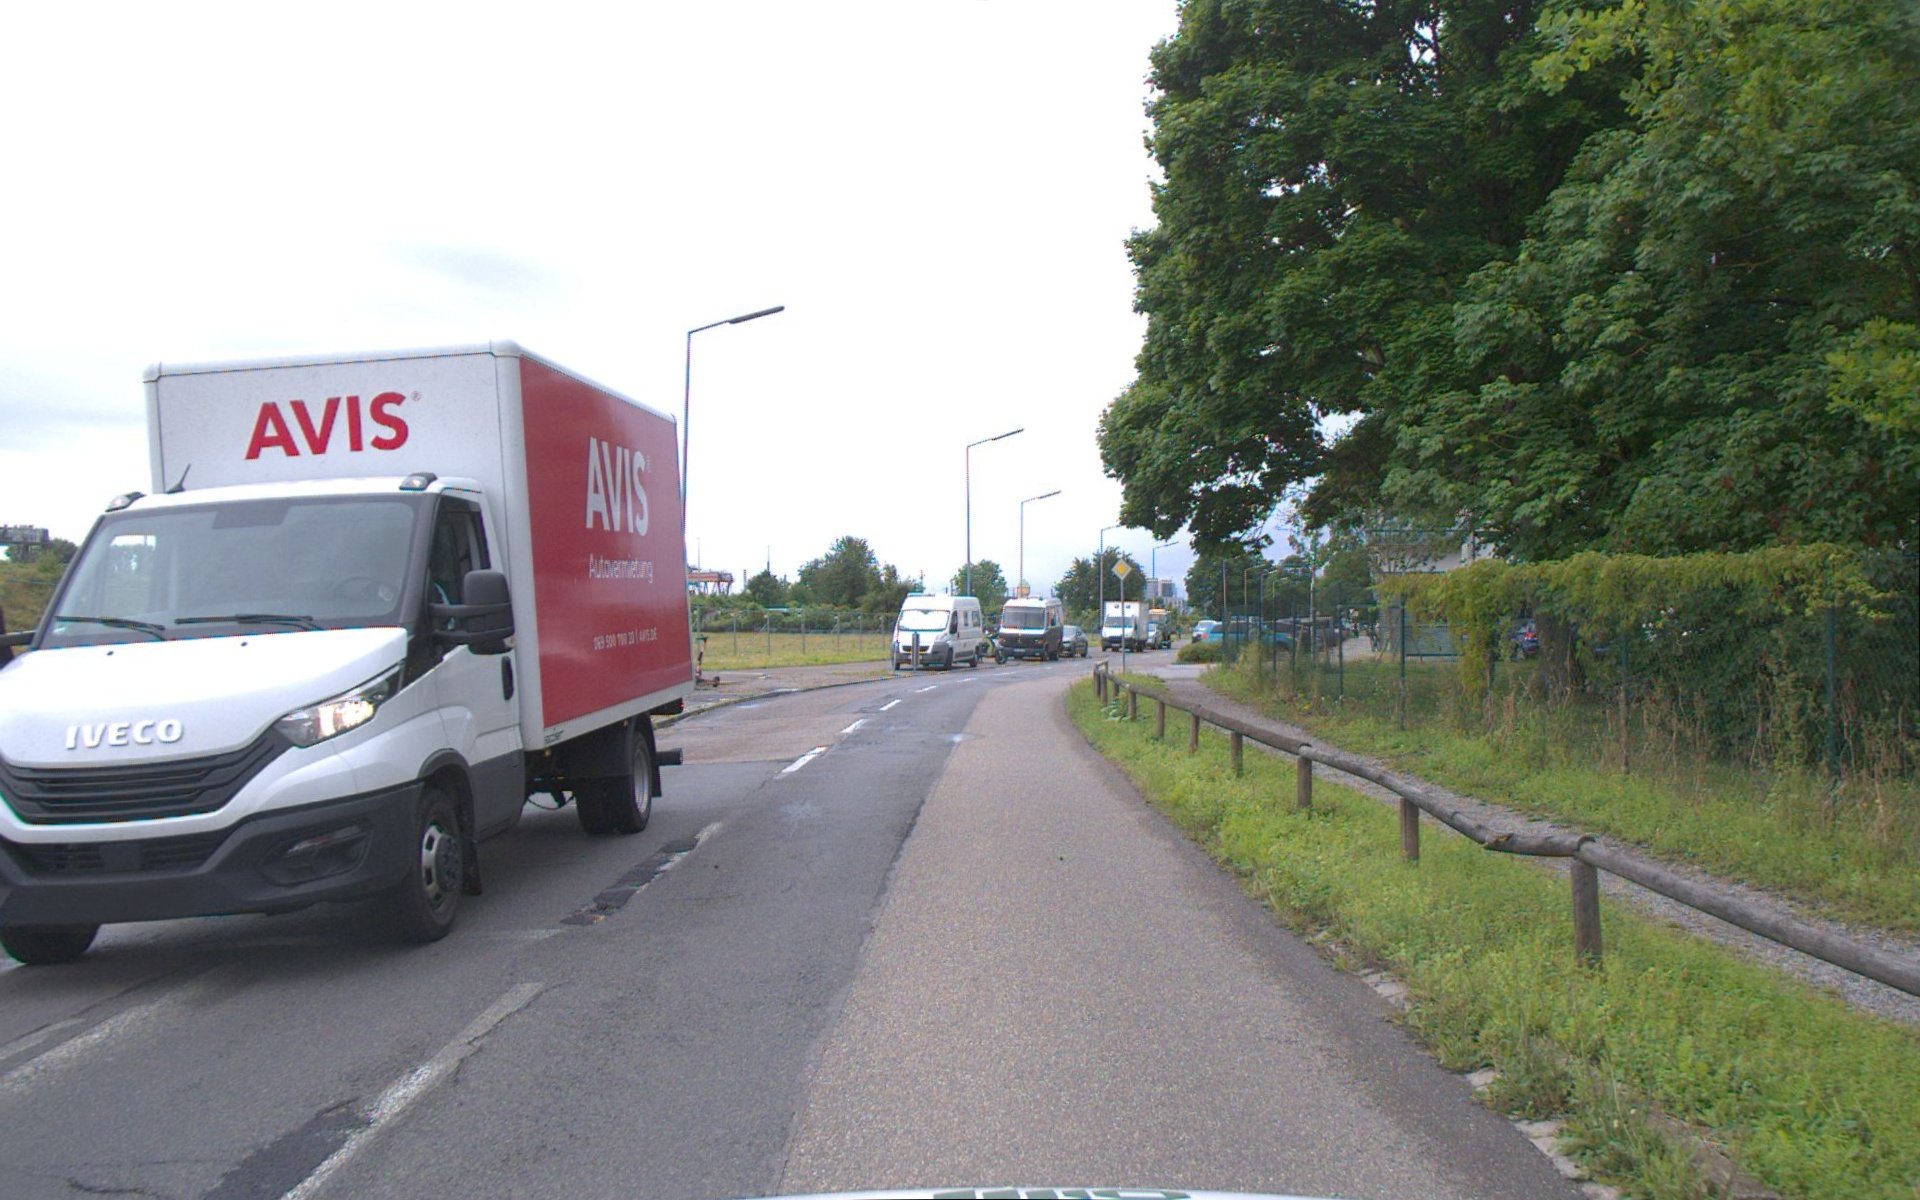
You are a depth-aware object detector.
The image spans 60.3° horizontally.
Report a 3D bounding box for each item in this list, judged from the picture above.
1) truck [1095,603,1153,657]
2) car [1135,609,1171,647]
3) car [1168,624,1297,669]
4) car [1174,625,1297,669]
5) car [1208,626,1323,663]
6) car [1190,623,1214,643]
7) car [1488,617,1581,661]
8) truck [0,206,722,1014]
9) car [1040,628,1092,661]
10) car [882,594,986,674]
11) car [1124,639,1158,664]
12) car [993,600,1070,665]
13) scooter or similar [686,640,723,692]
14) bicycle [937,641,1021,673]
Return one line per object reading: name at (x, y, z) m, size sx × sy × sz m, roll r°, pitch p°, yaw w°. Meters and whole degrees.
truck at (10.015, 1.786, 100.258) m, size 2.409 × 3.114 × 8.168 m, roll 0°, pitch -1°, yaw 13°
car at (13.685, 1.991, 117.117) m, size 1.962 × 2.619 × 4.789 m, roll 0°, pitch -1°, yaw 14°
car at (10.509, 1.788, 63.716) m, size 4.757 × 1.644 × 1.844 m, roll 0°, pitch 0°, yaw 14°
car at (11.071, 1.867, 66.423) m, size 4.757 × 1.692 × 1.844 m, roll 0°, pitch 0°, yaw 14°
car at (13.129, 1.887, 70.980) m, size 4.757 × 1.527 × 1.844 m, roll 0°, pitch 0°, yaw 14°
car at (21.053, 2.883, 143.784) m, size 1.614 × 1.692 × 3.578 m, roll 0°, pitch 0°, yaw 16°
car at (19.424, 1.305, 56.053) m, size 1.786 × 1.456 × 3.771 m, roll 0°, pitch -1°, yaw -1°
truck at (-3.323, 0.109, 10.268) m, size 2.292 × 3.116 × 7.497 m, roll -2°, pitch -1°, yaw 2°
car at (5.169, 2.126, 80.123) m, size 1.741 × 1.531 × 4.003 m, roll 0°, pitch -1°, yaw 15°
car at (-0.805, 1.148, 57.368) m, size 2.240 × 2.600 × 6.415 m, roll 0°, pitch -1°, yaw 12°
car at (12.033, 3.384, 109.564) m, size 1.717 × 1.552 × 4.003 m, roll 0°, pitch -1°, yaw 14°
car at (3.223, 1.405, 73.583) m, size 2.251 × 2.782 × 6.096 m, roll 0°, pitch 0°, yaw 14°
scooter or similar at (-6.157, 1.583, 39.957) m, size 0.596 × 1.203 × 1.701 m, roll 2°, pitch -1°, yaw 0°
bicycle at (0.759, 2.237, 65.285) m, size 3.054 × 1.220 × 1.366 m, roll 0°, pitch 0°, yaw 13°
